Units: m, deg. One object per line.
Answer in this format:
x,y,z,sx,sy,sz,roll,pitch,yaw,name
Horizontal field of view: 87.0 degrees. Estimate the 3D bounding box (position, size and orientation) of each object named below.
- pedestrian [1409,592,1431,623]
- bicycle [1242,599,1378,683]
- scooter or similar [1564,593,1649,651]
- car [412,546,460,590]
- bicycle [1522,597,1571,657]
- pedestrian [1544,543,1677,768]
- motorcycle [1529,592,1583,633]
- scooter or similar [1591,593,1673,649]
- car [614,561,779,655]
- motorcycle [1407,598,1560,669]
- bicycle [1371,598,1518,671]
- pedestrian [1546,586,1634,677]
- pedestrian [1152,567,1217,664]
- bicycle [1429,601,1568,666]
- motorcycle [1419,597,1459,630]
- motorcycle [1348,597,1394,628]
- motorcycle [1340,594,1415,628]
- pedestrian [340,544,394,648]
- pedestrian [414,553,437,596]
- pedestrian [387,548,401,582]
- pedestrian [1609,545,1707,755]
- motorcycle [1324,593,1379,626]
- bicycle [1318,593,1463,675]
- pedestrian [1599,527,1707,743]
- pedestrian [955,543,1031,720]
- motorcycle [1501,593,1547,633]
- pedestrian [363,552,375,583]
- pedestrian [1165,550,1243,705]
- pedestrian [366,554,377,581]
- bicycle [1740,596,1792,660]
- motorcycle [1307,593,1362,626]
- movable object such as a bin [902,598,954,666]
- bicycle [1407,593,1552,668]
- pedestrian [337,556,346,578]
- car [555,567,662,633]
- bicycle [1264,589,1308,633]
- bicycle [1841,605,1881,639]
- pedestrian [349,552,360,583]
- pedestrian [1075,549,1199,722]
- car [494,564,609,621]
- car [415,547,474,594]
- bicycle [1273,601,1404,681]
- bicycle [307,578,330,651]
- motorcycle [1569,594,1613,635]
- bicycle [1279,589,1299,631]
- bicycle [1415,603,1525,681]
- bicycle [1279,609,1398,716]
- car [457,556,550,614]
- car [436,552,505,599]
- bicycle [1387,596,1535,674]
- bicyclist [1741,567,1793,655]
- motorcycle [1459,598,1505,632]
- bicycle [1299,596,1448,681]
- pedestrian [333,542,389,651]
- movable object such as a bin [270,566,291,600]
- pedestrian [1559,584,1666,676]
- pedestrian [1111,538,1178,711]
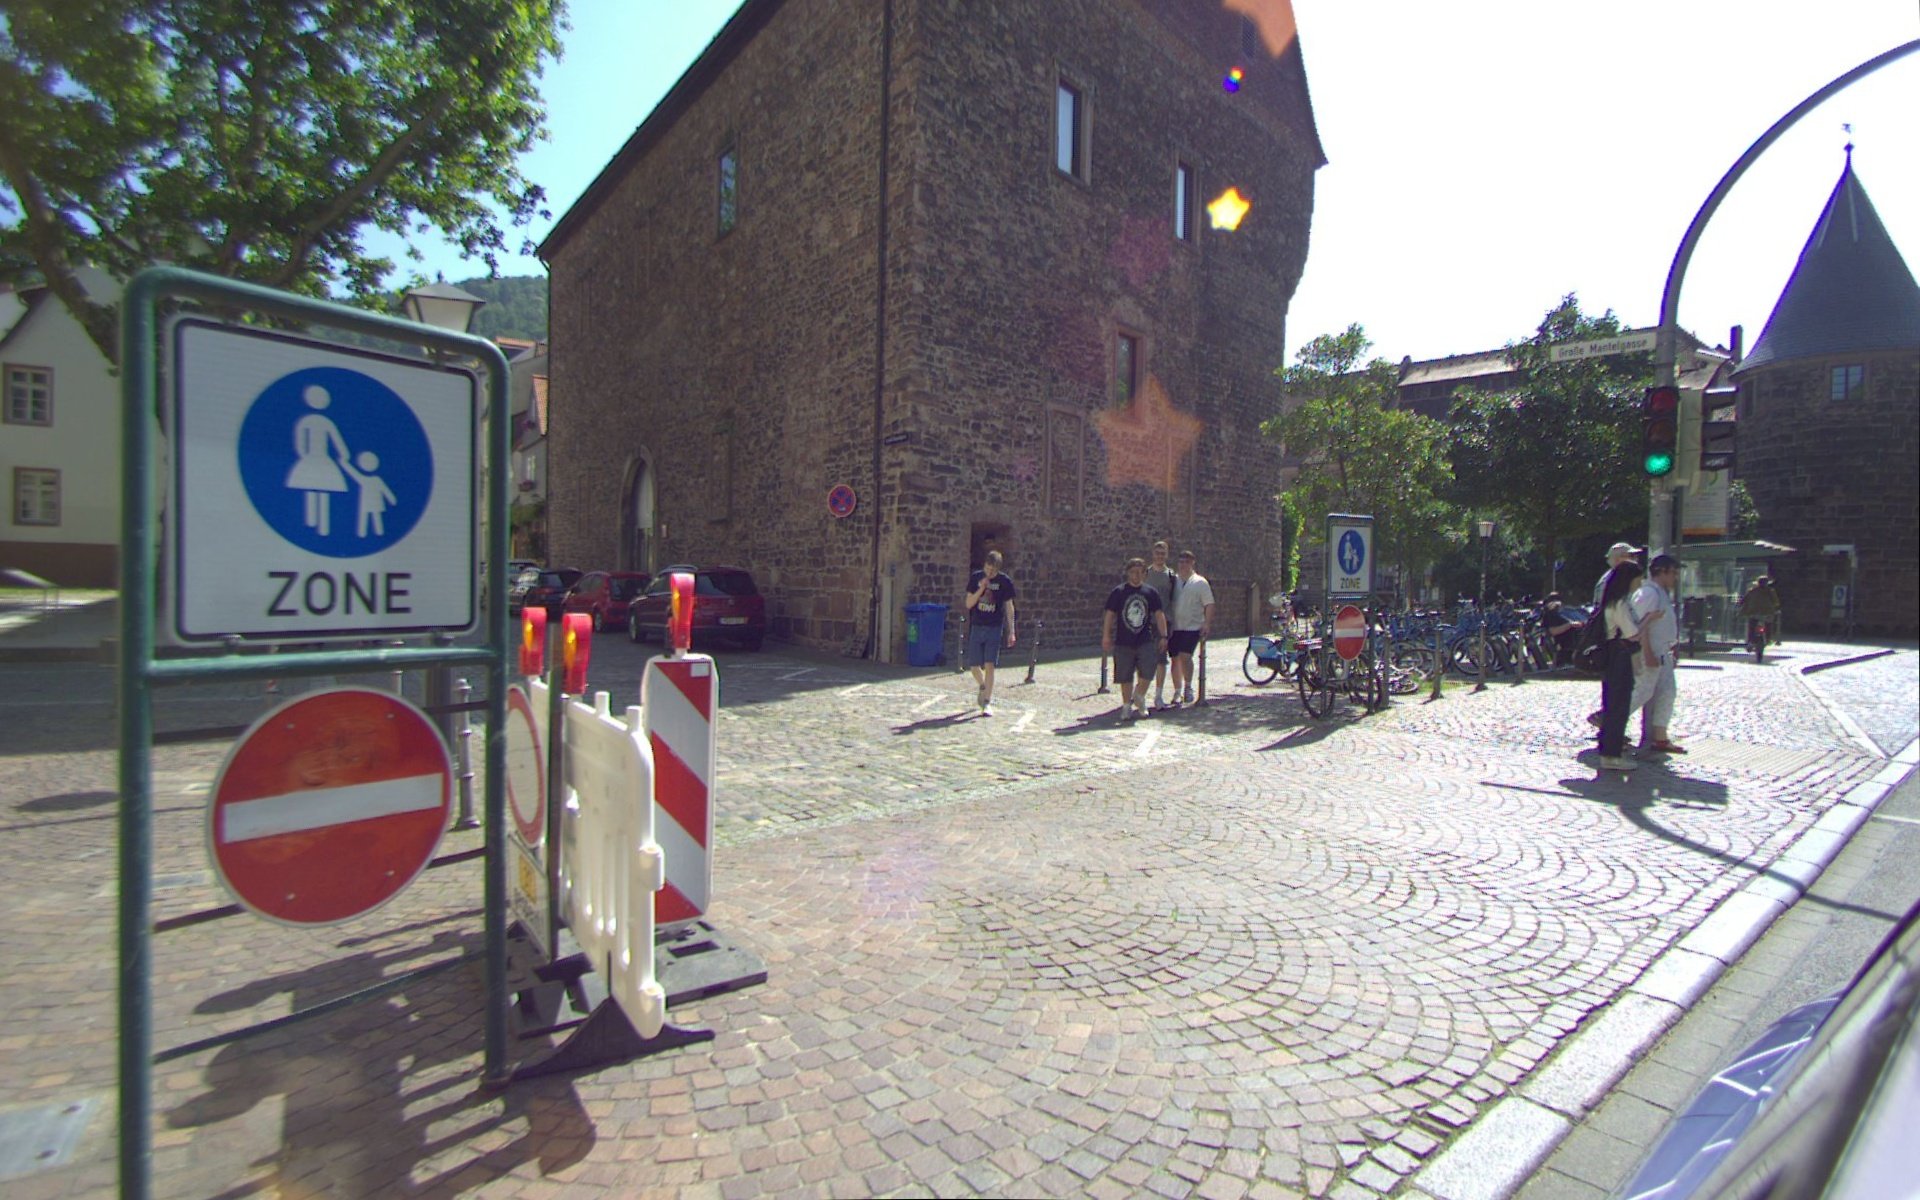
21.785,0.361,47.940,0.660,1.439,0.663,-1,1,-10,pedestrian
4.987,0.551,14.510,0.553,1.124,1.795,2,-1,-42,bicycle
14.122,0.465,22.137,0.640,1.231,1.432,0,-1,-41,scooter or similar
-25.862,-1.570,49.872,1.960,2.016,4.092,0,1,-29,car
12.175,0.534,21.052,0.540,1.145,1.727,1,1,19,bicycle
5.202,0.407,8.100,0.670,1.696,0.716,0,1,-41,pedestrian
18.959,0.388,32.177,2.230,1.251,0.740,0,1,-39,motorcycle
15.270,0.471,23.024,0.640,1.231,1.432,0,-1,-41,scooter or similar
-5.501,0.086,20.772,1.902,1.722,4.176,0,1,-36,car
8.915,0.545,17.317,0.763,1.118,2.207,2,-1,-42,motorcycle
7.786,0.524,16.362,0.594,1.099,2.082,2,-1,-42,bicycle
9.467,0.453,15.220,0.682,1.298,0.962,0,1,-43,pedestrian
4.254,0.267,19.176,0.944,1.782,0.759,0,1,-41,pedestrian
9.483,0.568,17.886,0.787,1.079,2.027,2,-1,-42,bicycle
16.673,0.467,35.211,0.630,1.094,1.897,2,0,45,motorcycle
15.523,0.469,38.231,1.983,1.159,0.742,0,-1,-39,motorcycle
14.840,0.373,36.018,0.861,1.161,2.343,0,0,-37,motorcycle
-11.004,-0.088,18.777,0.790,1.875,0.866,0,1,-34,pedestrian
-22.628,-1.083,42.845,0.759,1.790,0.804,0,1,-36,pedestrian
-34.275,-2.121,61.301,0.631,2.039,0.647,1,1,-37,pedestrian
6.044,0.406,8.760,0.654,1.733,0.527,0,1,-41,pedestrian
15.194,0.381,39.275,2.003,1.251,0.601,1,1,-16,motorcycle
6.776,0.504,16.031,0.518,1.213,2.082,2,-1,-42,bicycle
6.343,0.298,9.266,0.717,1.875,0.617,0,1,-41,pedestrian
0.369,0.346,11.748,0.789,1.966,0.791,1,1,-3,pedestrian
18.284,0.421,32.800,1.774,1.247,0.671,1,0,-39,motorcycle
-39.079,-2.143,66.936,0.630,2.038,0.648,1,1,-32,pedestrian
2.910,0.304,12.144,0.792,1.775,0.907,1,1,8,pedestrian
-46.021,-2.532,79.115,0.631,2.038,0.647,1,1,-37,pedestrian
15.464,0.507,19.406,0.688,1.143,1.980,2,1,41,bicycle
14.732,0.382,39.800,2.003,1.251,0.601,1,1,-15,motorcycle
-0.554,0.545,17.555,0.738,1.138,0.490,0,1,-41,movable object such as a bin
8.874,0.496,17.364,0.763,1.213,2.082,2,-1,-42,bicycle
-56.747,-3.013,92.906,0.630,2.038,0.647,1,1,-35,pedestrian
-8.782,-0.043,25.206,1.597,1.518,3.002,0,2,-39,car
9.211,0.296,28.538,0.524,1.175,1.899,1,1,39,bicycle
32.704,0.787,36.725,1.812,1.167,0.844,0,1,-42,bicycle
-39.775,-2.143,66.475,0.630,2.038,0.648,1,1,-32,pedestrian
1.918,0.360,11.058,0.969,1.787,0.929,1,1,-21,pedestrian
-11.862,-0.255,29.236,1.964,1.519,4.172,0,1,-39,car
-23.560,-1.338,46.173,1.961,2.016,4.089,0,1,-33,car
5.717,0.589,15.358,0.598,1.124,1.795,2,-1,-42,bicycle
-11.566,0.230,18.243,0.315,1.224,1.823,1,1,-33,bicycle
19.800,0.431,31.736,0.658,1.251,2.180,2,1,45,motorcycle
9.777,0.273,30.073,0.540,1.167,1.916,1,1,18,bicycle
9.815,0.834,19.537,0.711,1.215,1.551,1,-14,-34,bicycle
4.211,0.656,11.213,1.552,1.016,0.509,-4,3,-39,bicycle
-15.256,-0.524,33.750,1.964,1.797,3.605,0,2,-39,car
-20.403,-1.012,42.099,1.962,1.858,4.176,0,1,-35,car
8.304,0.550,16.845,0.763,1.213,2.082,2,-1,-42,bicycle
15.473,0.195,19.407,0.708,1.648,0.873,2,1,42,bicyclist
18.121,0.501,35.105,1.874,1.107,0.875,0,1,-45,motorcycle
6.338,0.557,15.631,0.597,1.213,2.082,2,-1,-42,bicycle
-10.639,-0.064,17.975,0.790,1.875,0.866,0,1,-34,pedestrian
-21.031,-0.535,31.318,0.490,1.048,0.460,0,1,-41,movable object such as a bin
10.034,0.434,15.584,0.682,1.324,1.249,0,1,-42,pedestrian
2.197,0.275,12.146,0.644,1.985,0.939,1,1,4,pedestrian
